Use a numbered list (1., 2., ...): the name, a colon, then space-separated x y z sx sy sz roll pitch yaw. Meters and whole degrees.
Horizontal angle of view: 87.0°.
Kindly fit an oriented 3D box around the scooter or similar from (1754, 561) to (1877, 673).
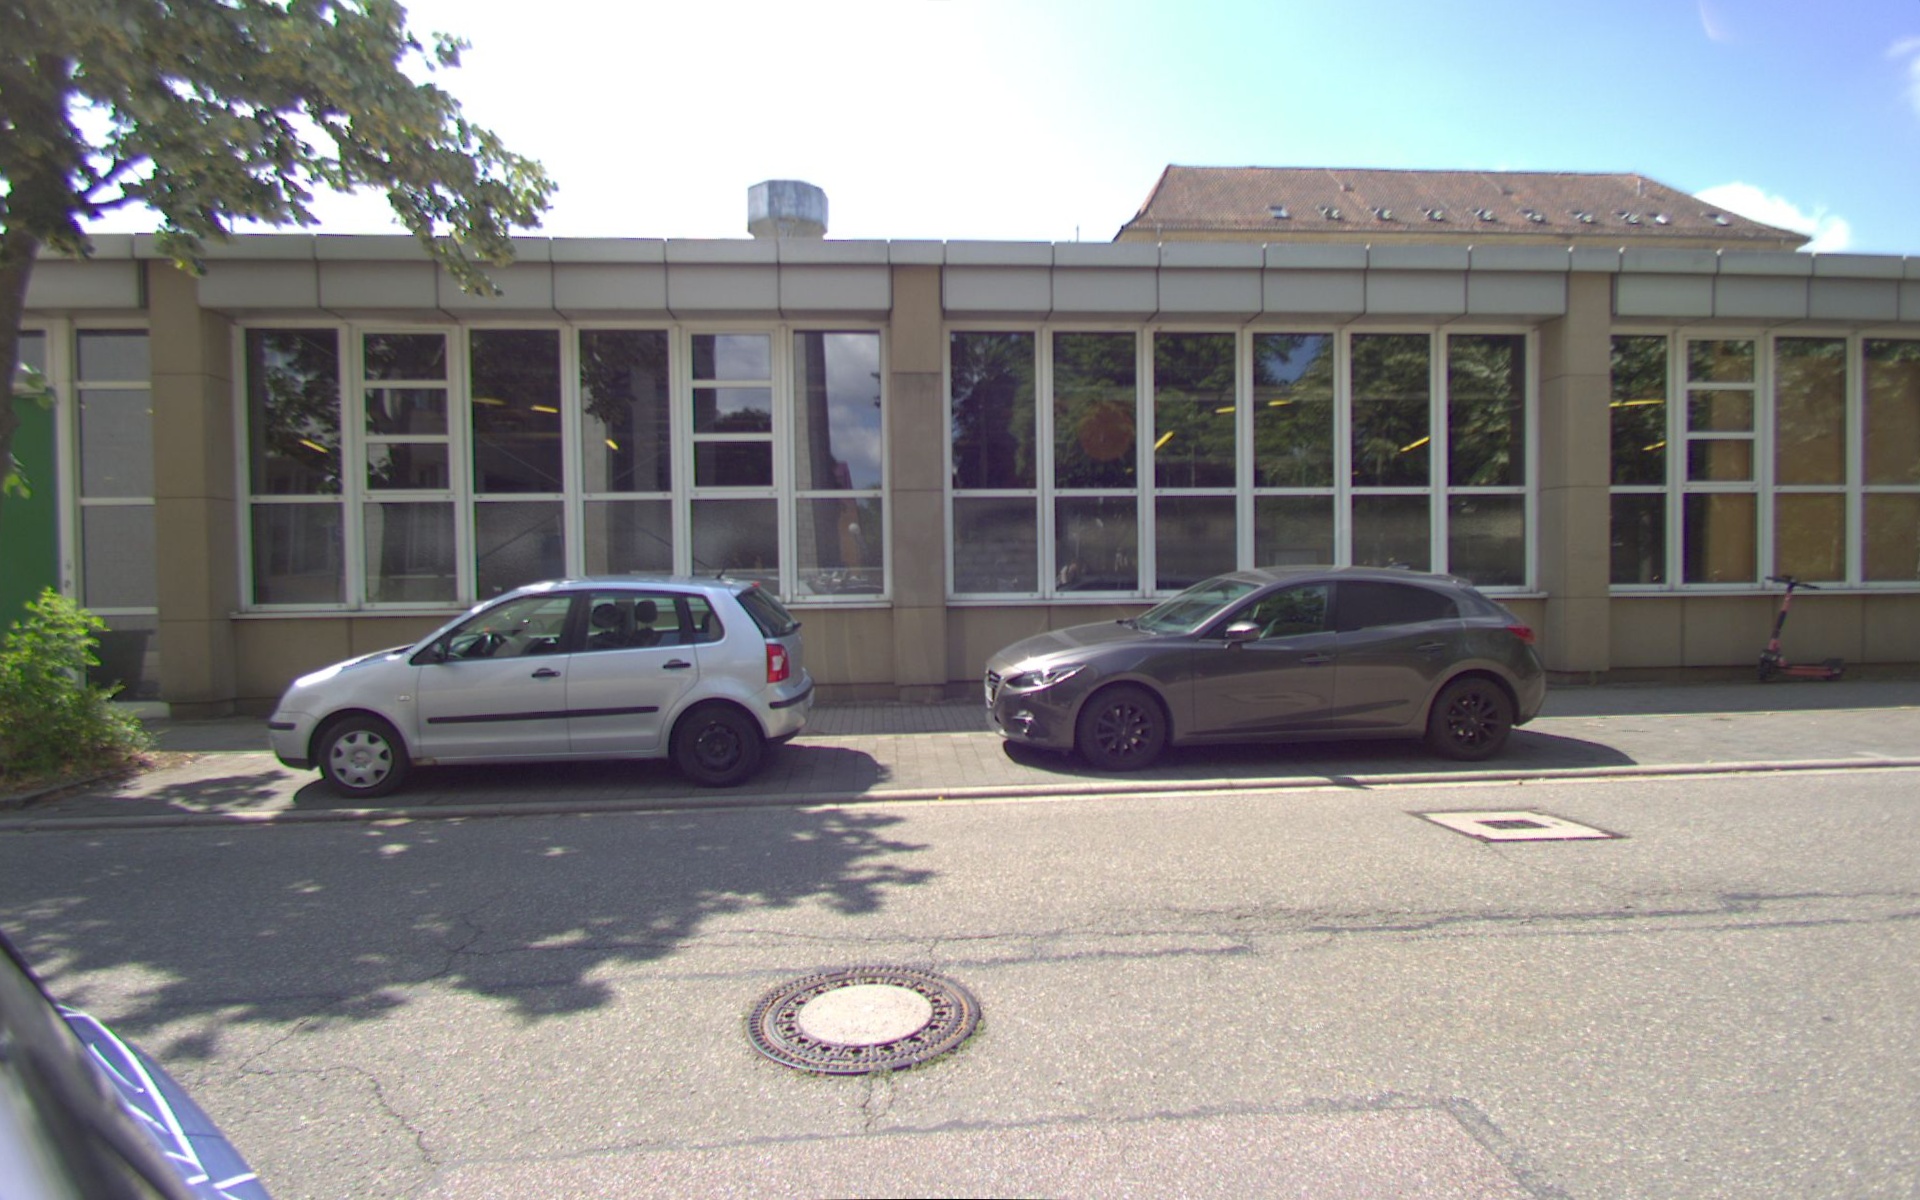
1. scooter or similar: 9.716 0.189 11.500 1.142 1.235 0.290 -1 1 -1

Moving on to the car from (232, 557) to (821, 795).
1. car: -2.981 0.466 7.637 3.722 1.487 1.655 -1 3 -4

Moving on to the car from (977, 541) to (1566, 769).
1. car: 2.305 0.340 8.095 4.148 1.487 1.655 -2 3 -4
